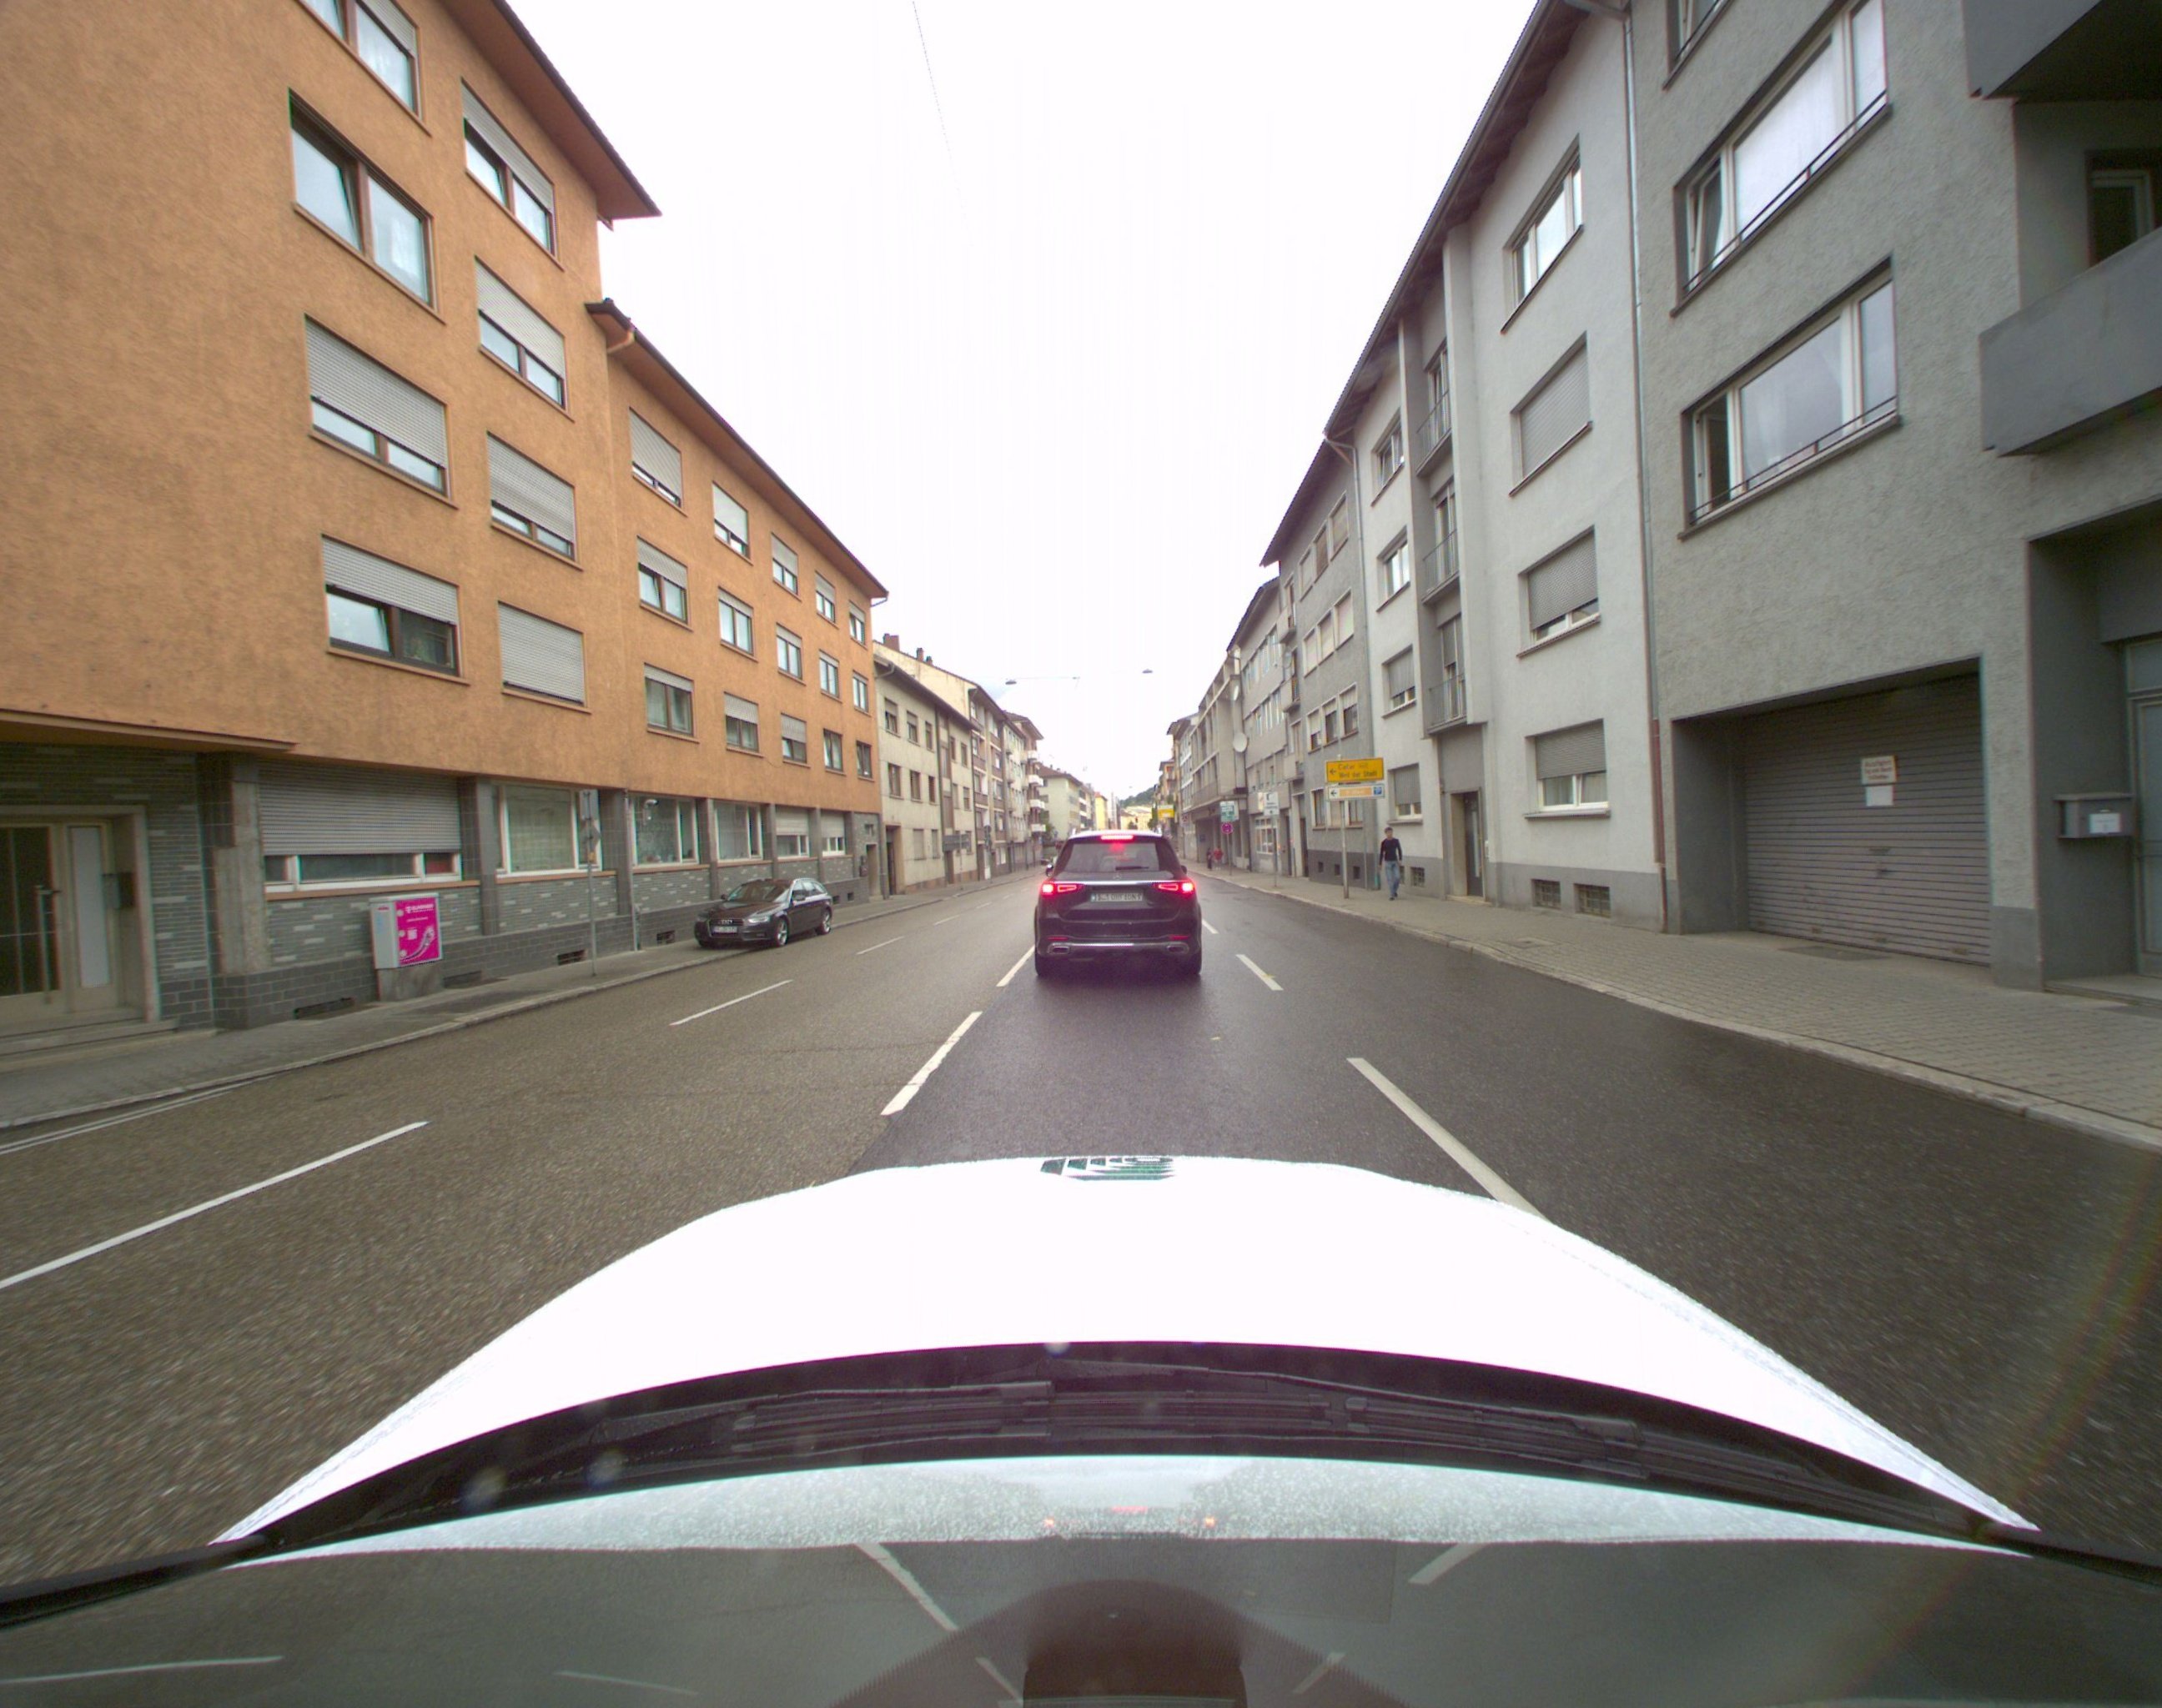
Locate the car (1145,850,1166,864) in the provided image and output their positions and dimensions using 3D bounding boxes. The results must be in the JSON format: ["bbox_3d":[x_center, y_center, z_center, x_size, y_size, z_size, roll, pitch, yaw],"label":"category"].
[{"bbox_3d":[7.569,0.286,83.092,1.728,1.388,4.584,-2,1,2],"label":"car"}]

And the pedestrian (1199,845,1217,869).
[{"bbox_3d":[8.654,0.218,55.382,0.825,1.565,0.892,-2,0,-26],"label":"pedestrian"}]

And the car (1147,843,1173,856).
[{"bbox_3d":[12.589,-0.736,129.554,3.968,2.013,2.003,-2,0,5],"label":"car"}]

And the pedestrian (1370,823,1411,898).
[{"bbox_3d":[7.607,0.153,20.043,0.652,1.752,0.743,-5,0,7],"label":"pedestrian"}]

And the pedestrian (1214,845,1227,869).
[{"bbox_3d":[9.449,0.185,55.197,0.816,1.565,0.901,-2,0,7],"label":"pedestrian"}]

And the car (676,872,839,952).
[{"bbox_3d":[-7.345,1.243,19.090,1.884,1.458,4.550,-2,1,1],"label":"car"}]

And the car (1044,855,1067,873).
[{"bbox_3d":[-2.284,0.878,74.118,1.884,1.458,4.550,-2,1,1],"label":"car"}]

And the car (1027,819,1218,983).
[{"bbox_3d":[0.528,0.486,11.313,2.068,1.765,4.613,-2,1,1],"label":"car"}]

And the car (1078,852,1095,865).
[{"bbox_3d":[0.685,0.545,97.936,1.884,1.458,4.551,-2,1,2],"label":"car"}]
